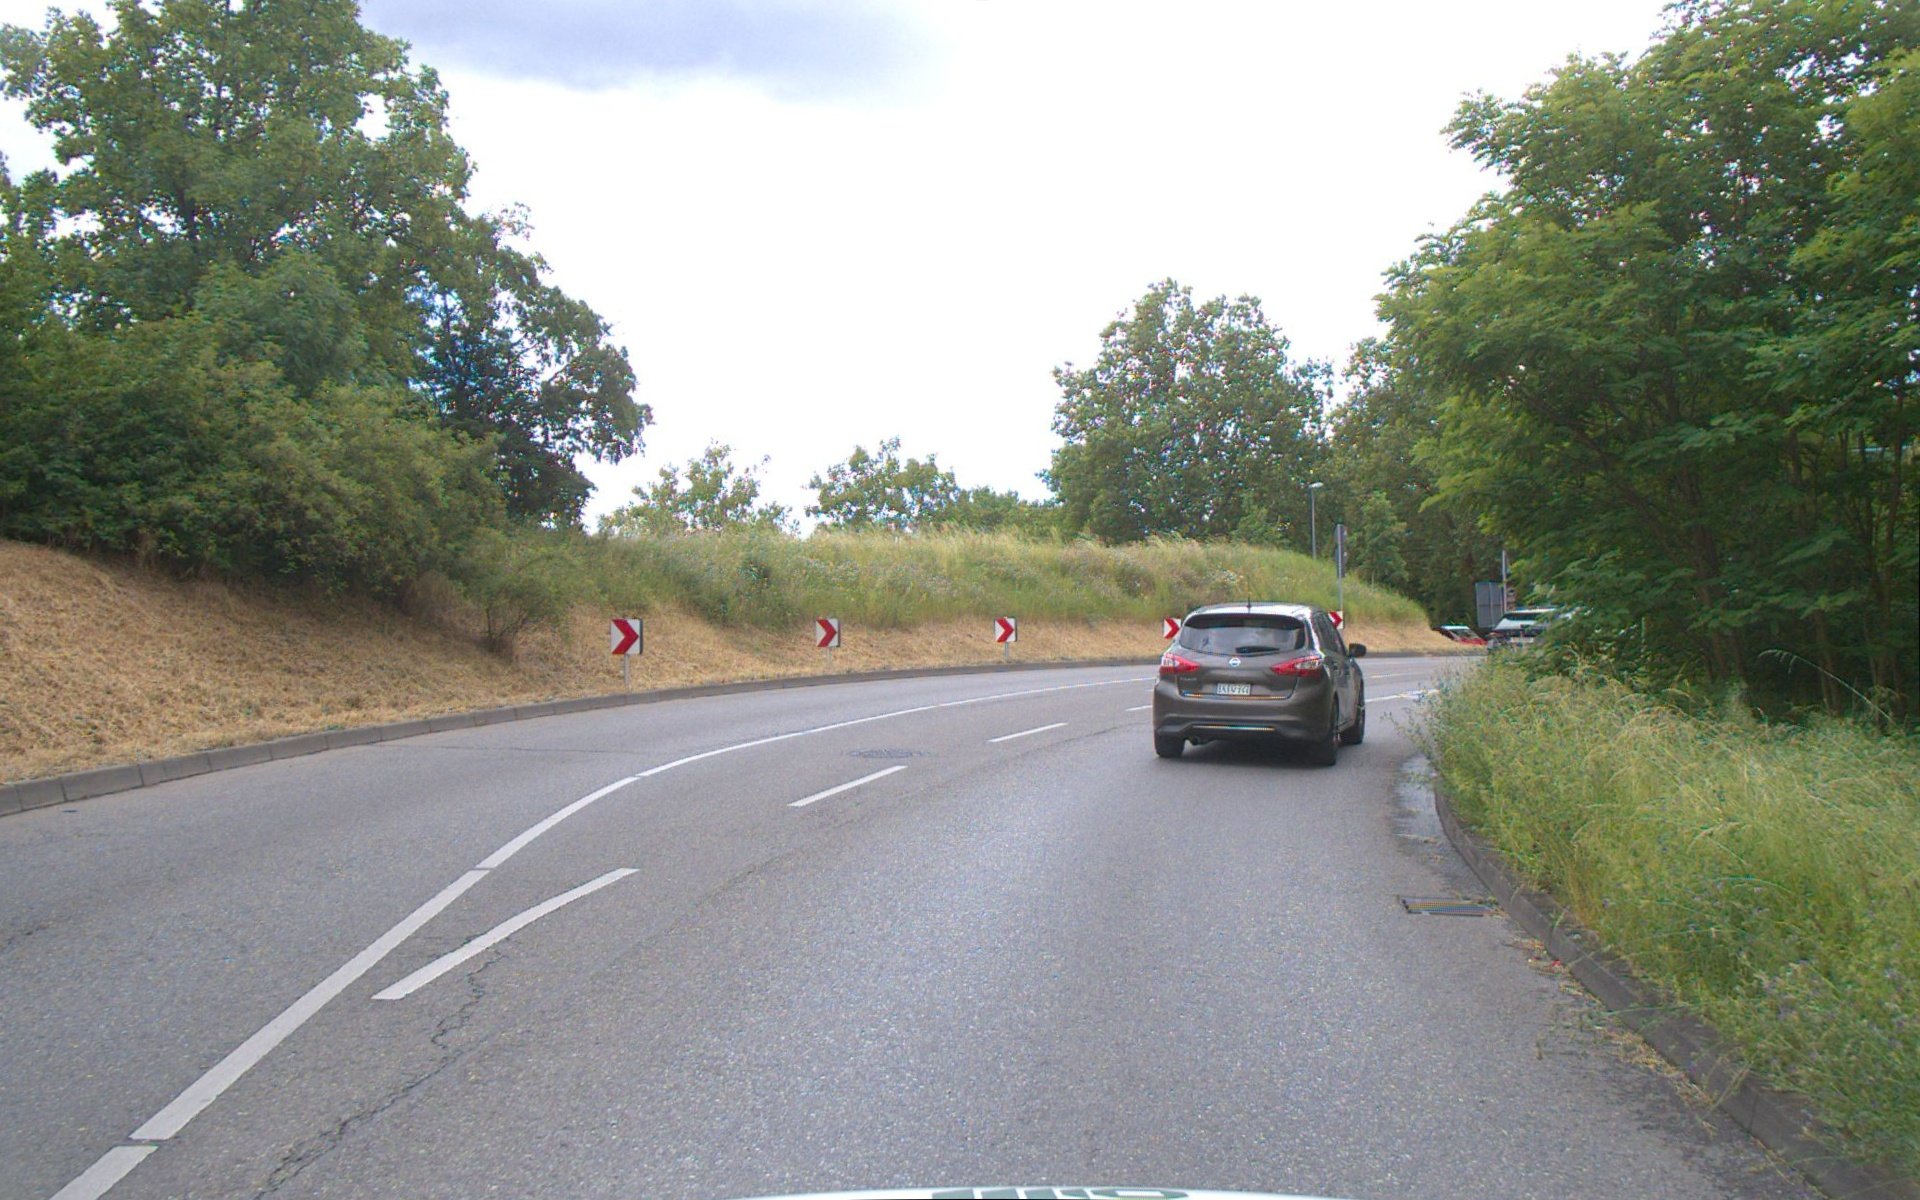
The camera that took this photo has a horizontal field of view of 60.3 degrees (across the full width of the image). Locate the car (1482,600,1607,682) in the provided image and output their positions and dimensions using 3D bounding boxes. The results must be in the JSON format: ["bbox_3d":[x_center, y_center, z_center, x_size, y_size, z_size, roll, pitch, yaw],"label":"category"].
[{"bbox_3d":[11.978,0.785,33.758,1.863,1.492,3.995,1,1,28],"label":"car"}]

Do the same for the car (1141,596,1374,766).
[{"bbox_3d":[3.209,0.732,17.198,1.806,1.519,4.002,1,0,19],"label":"car"}]

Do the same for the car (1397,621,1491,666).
[{"bbox_3d":[22.320,2.029,76.419,1.829,1.845,3.998,0,-4,-30],"label":"car"}]
